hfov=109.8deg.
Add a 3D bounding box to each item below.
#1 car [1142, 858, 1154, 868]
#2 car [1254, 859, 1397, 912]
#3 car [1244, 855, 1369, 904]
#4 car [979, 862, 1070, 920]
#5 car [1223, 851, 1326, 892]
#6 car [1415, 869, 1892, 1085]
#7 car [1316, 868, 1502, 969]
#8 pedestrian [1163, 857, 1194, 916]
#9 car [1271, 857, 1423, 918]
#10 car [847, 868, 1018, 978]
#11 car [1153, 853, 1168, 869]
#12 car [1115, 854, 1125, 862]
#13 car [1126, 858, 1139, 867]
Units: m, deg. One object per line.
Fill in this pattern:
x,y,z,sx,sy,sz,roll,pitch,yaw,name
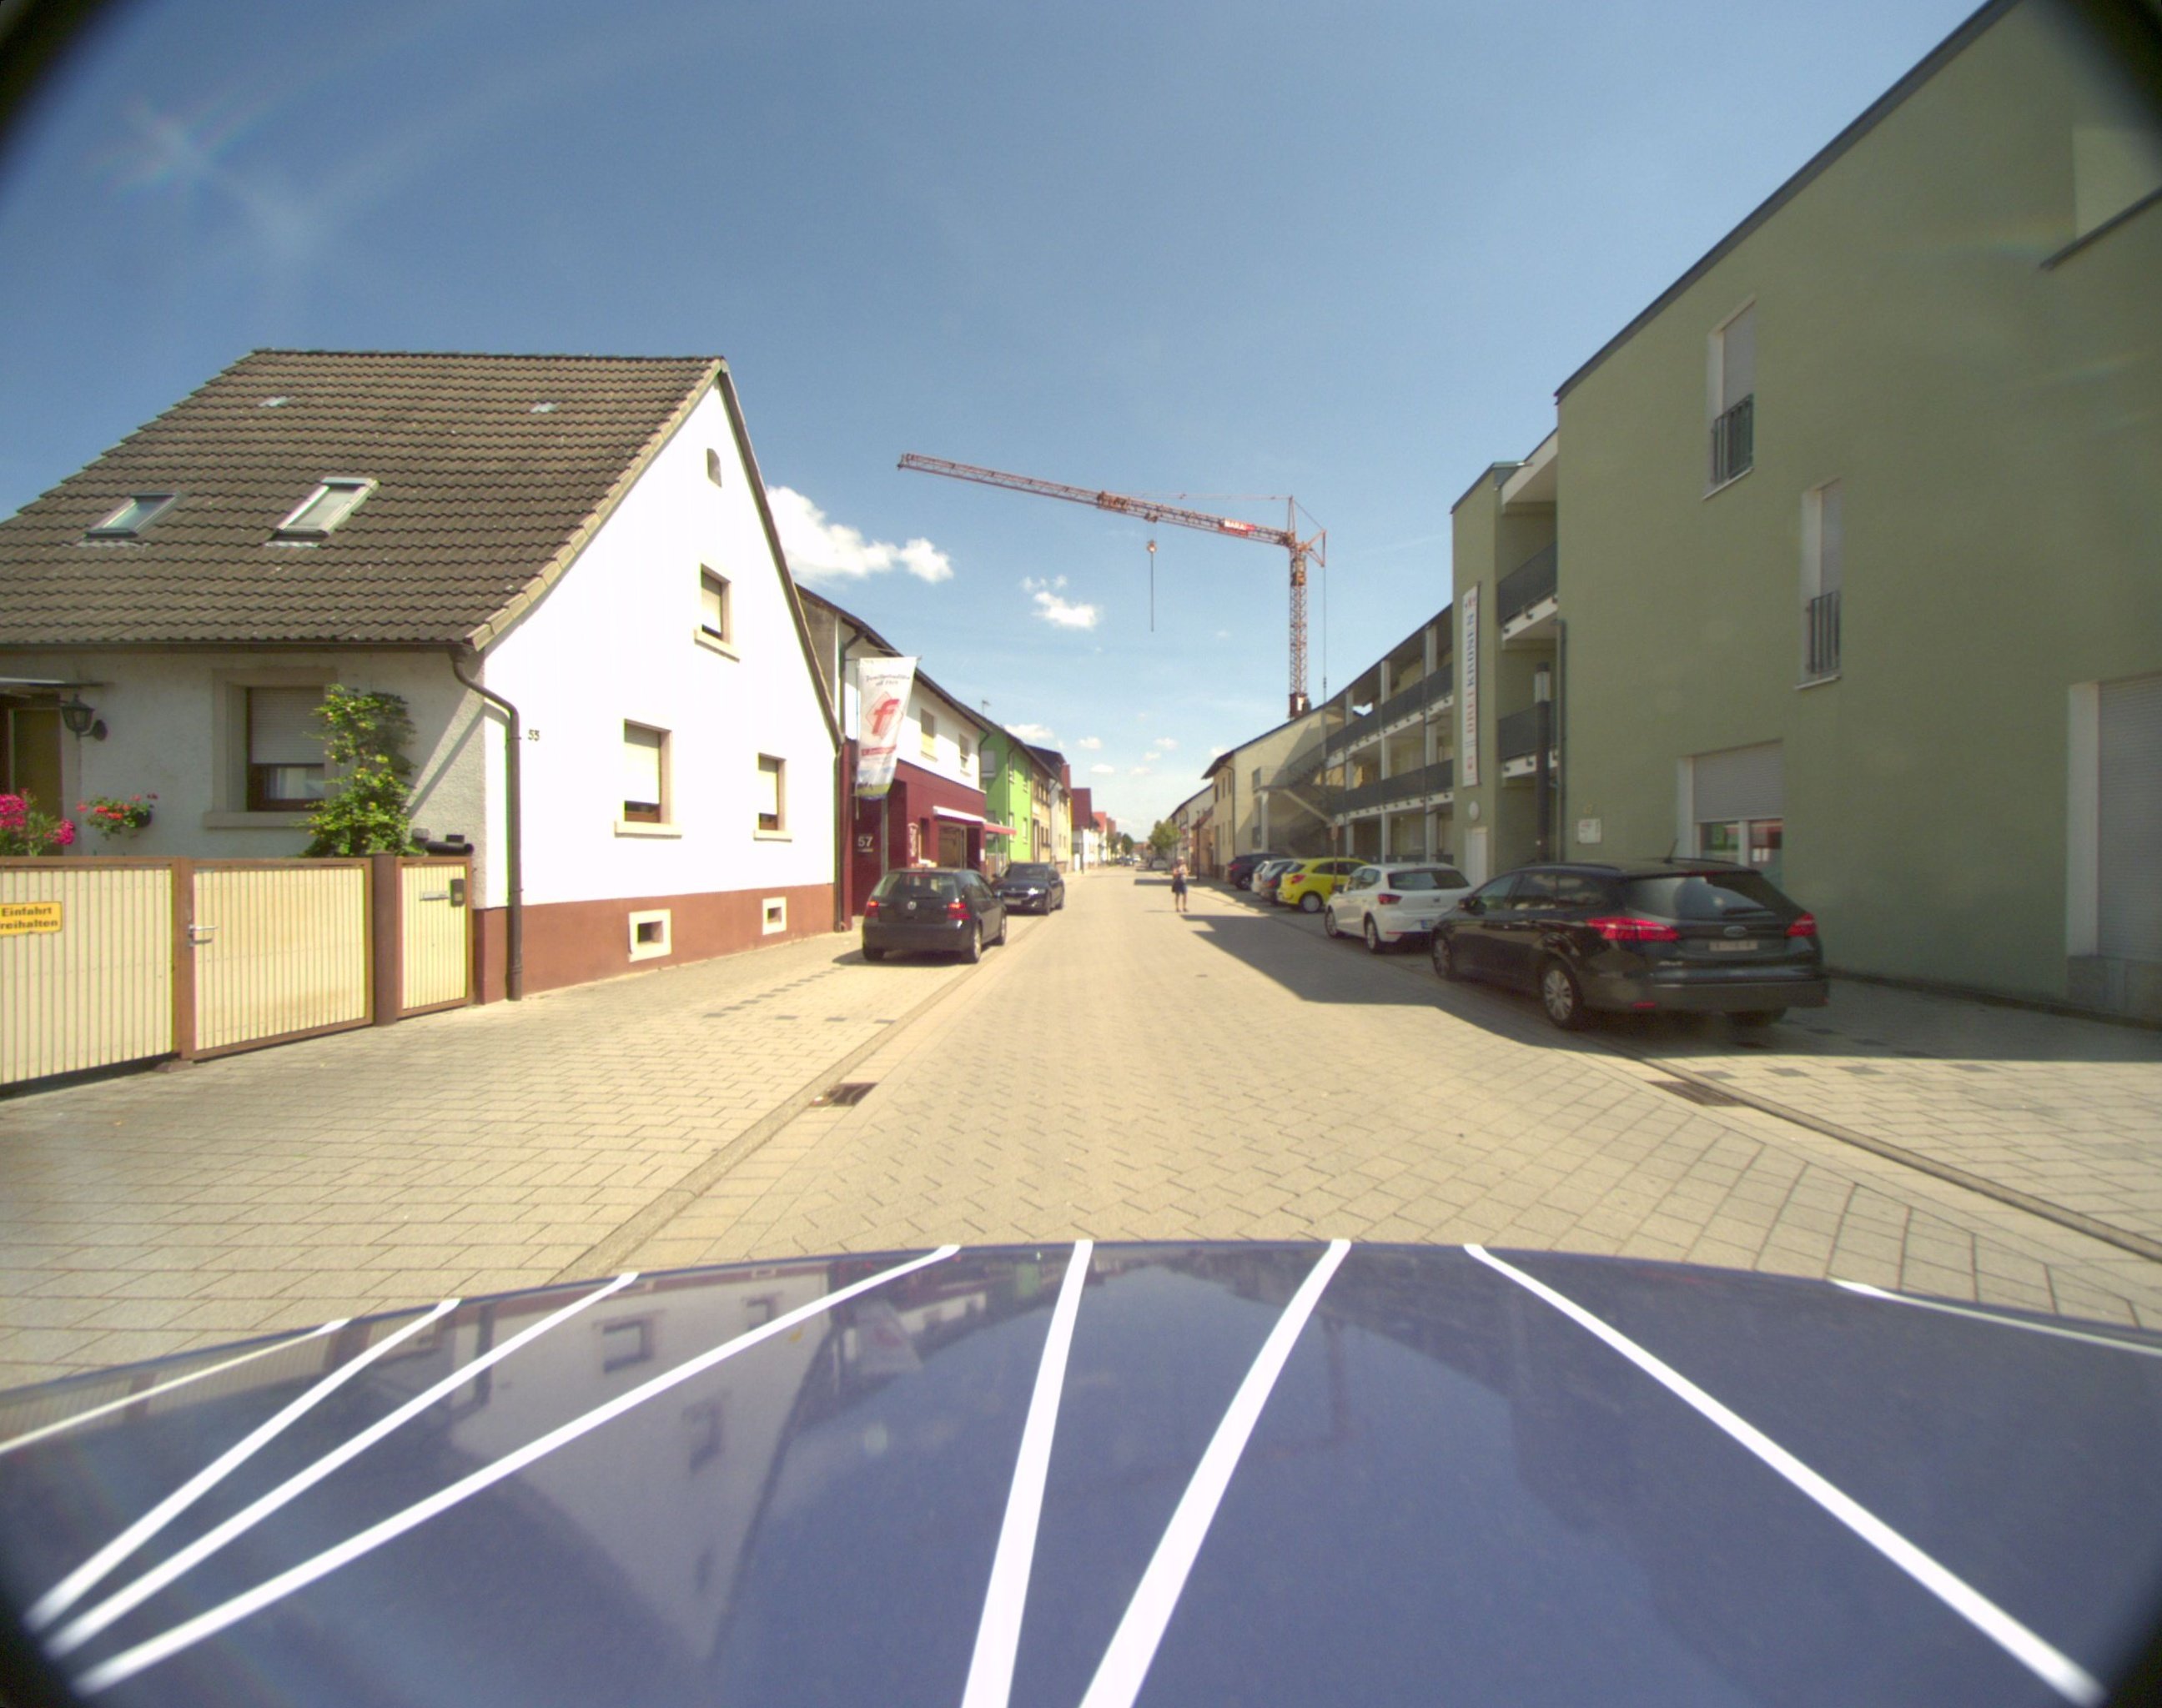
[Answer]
10.742,1.364,121.376,1.751,1.557,3.956,0,0,3,car
7.718,0.972,24.271,3.996,1.433,1.691,-3,0,4,car
7.910,0.873,26.916,3.909,1.493,1.751,-3,0,5,car
-1.565,1.008,22.637,1.862,1.450,4.588,2,0,6,car
8.666,0.759,34.357,4.228,1.648,1.785,-2,0,5,car
5.151,0.958,7.742,1.817,1.481,4.278,-2,0,4,car
5.498,1.007,13.302,1.761,1.402,3.879,-2,0,4,car
2.802,0.918,21.918,0.748,1.630,0.732,-2,1,-1,pedestrian
7.539,0.916,21.759,3.701,1.516,1.672,-2,0,-1,car
-2.253,0.998,12.676,1.763,1.430,4.121,1,0,4,car
8.695,0.745,82.975,1.575,1.552,2.823,-2,0,7,car
7.251,0.742,141.844,1.725,1.420,3.820,0,0,5,car
8.691,1.394,128.125,1.957,1.521,4.002,0,0,5,car
